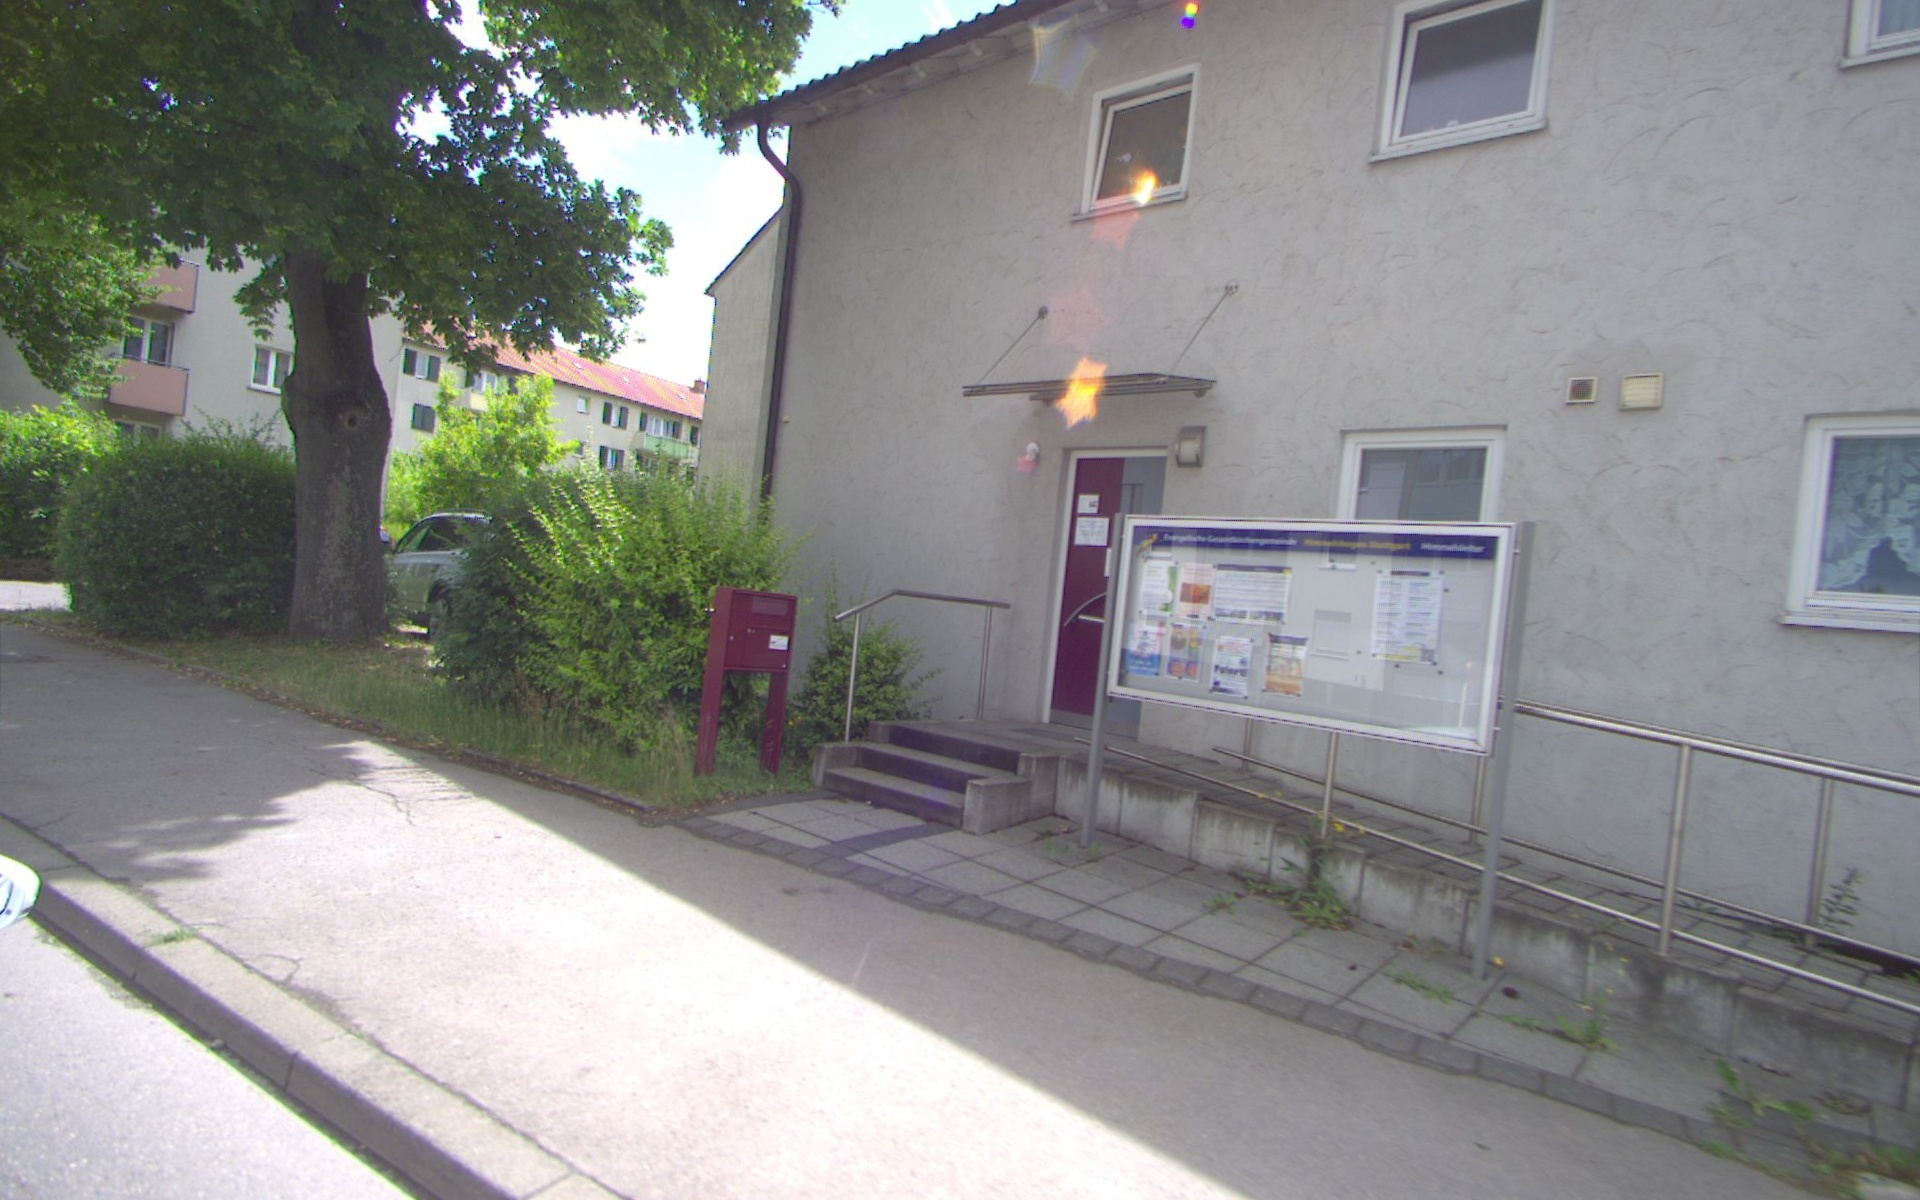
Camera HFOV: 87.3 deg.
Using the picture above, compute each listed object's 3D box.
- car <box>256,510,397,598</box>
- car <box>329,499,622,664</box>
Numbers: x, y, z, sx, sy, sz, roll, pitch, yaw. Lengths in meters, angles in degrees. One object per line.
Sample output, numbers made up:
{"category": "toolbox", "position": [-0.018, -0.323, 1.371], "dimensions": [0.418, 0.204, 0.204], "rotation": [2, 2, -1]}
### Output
{"category": "car", "position": [-13.539, -1.007, 21.424], "dimensions": [3.643, 1.499, 1.659], "rotation": [7, 1, 44]}
{"category": "car", "position": [-6.224, -0.279, 12.741], "dimensions": [3.943, 1.670, 1.809], "rotation": [6, 0, 41]}
